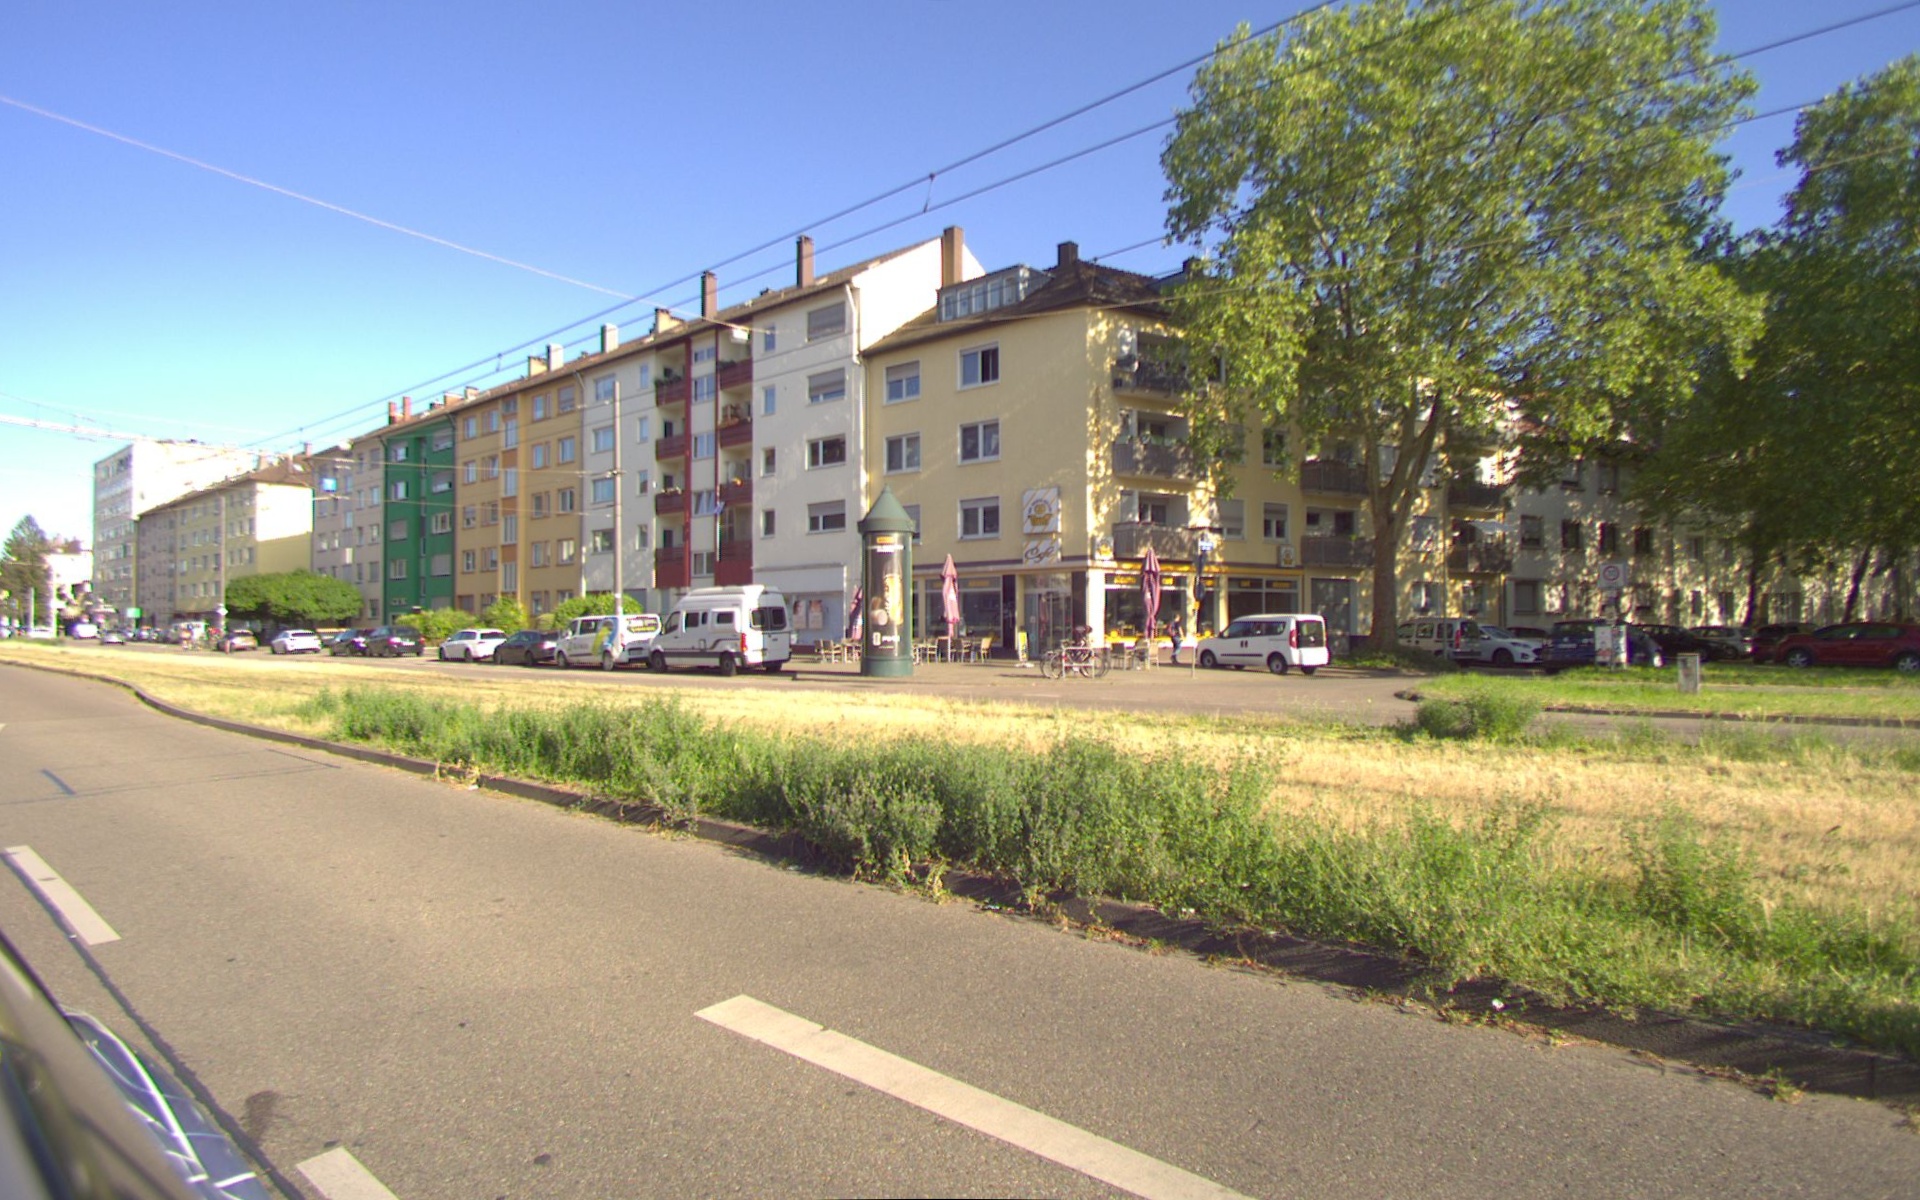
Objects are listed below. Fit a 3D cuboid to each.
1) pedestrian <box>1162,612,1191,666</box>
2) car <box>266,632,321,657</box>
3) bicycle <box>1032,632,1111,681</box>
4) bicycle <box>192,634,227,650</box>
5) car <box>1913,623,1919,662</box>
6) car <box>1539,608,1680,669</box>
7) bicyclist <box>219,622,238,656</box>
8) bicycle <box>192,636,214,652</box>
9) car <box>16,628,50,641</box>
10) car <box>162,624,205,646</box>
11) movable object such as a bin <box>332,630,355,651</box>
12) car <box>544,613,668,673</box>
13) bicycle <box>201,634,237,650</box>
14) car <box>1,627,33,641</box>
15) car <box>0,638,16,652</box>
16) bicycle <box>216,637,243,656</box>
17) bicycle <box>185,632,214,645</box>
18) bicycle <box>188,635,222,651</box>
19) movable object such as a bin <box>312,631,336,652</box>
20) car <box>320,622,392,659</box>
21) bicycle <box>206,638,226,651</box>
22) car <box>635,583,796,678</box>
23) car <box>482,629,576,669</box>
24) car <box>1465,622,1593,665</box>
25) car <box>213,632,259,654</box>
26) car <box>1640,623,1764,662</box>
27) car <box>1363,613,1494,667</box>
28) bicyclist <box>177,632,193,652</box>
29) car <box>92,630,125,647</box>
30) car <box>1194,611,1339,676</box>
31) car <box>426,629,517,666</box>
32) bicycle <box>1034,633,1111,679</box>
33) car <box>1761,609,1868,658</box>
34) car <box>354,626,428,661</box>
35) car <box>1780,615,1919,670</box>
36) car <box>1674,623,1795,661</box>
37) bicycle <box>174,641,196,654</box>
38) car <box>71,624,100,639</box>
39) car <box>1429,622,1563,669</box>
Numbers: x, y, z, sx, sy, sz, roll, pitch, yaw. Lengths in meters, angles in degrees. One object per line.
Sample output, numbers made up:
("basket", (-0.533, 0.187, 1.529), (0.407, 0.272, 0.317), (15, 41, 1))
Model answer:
("pedestrian", (7.408, 1.326, 34.658), (0.830, 1.798, 0.687), (-2, 0, 6))
("car", (-40.845, 2.712, 62.010), (4.373, 1.465, 1.711), (-2, -1, 41))
("bicycle", (2.977, 1.508, 27.063), (2.065, 1.261, 0.518), (-1, 0, 7))
("bicycle", (-56.625, 3.171, 76.353), (2.024, 1.101, 0.616), (-2, 0, -44))
("car", (36.175, 1.458, 35.276), (1.559, 1.392, 4.011), (1, -2, -33))
("car", (18.393, 1.057, 28.628), (3.932, 1.613, 1.755), (0, -2, -31))
("bicyclist", (-45.014, 2.406, 62.236), (0.648, 2.029, 0.765), (-2, 0, 41))
("bicycle", (-55.432, 3.214, 74.098), (1.928, 1.101, 0.506), (-2, 0, 29))
("car", (-100.863, 3.775, 110.116), (4.404, 1.395, 1.818), (-2, -3, 35))
("car", (-74.848, 3.337, 97.505), (5.492, 1.964, 1.975), (-2, 0, 38))
("movable object such as a bin", (-43.663, 2.857, 71.642), (1.039, 1.378, 1.134), (-1, 1, 43))
("car", (-13.401, 1.594, 38.131), (5.369, 2.036, 2.011), (-2, 0, 42))
("bicycle", (-55.398, 3.129, 75.684), (2.019, 1.101, 0.617), (-2, 0, -22))
("car", (-106.567, 3.815, 114.373), (4.405, 1.540, 1.767), (-2, -3, 36))
("car", (-116.937, 5.493, 123.511), (4.235, 1.562, 1.838), (-2, -4, 39))
("bicycle", (-44.773, 2.849, 62.034), (2.473, 1.155, 0.760), (-2, -4, 41))
("bicycle", (-71.405, 3.607, 95.062), (0.472, 1.114, 2.076), (-2, 0, 41))
("bicycle", (-58.354, 3.327, 78.180), (2.024, 1.101, 0.616), (-2, 0, -44))
("movable object such as a bin", (-44.439, 2.892, 70.692), (1.039, 1.378, 1.134), (-1, 1, 43))
("car", (-32.928, 2.209, 55.147), (4.606, 1.851, 1.973), (-2, 0, 41))
("bicycle", (-54.983, 3.283, 74.785), (2.046, 0.872, 0.374), (-2, 0, 30))
("car", (-8.220, 0.992, 33.603), (6.226, 2.890, 2.011), (-2, -1, 42))
("car", (-17.830, 2.010, 41.783), (4.320, 1.526, 1.678), (-2, -1, 38))
("car", (22.348, 1.693, 39.894), (1.850, 1.582, 4.012), (2, -2, -29))
("car", (-50.581, 2.983, 70.664), (3.729, 1.453, 1.620), (-2, 0, 39))
("car", (33.595, 1.894, 45.934), (1.966, 1.677, 4.074), (2, -2, -29))
("car", (17.334, 1.445, 37.576), (1.966, 1.857, 4.012), (2, -2, -29))
("bicyclist", (-53.614, 2.917, 70.019), (0.648, 1.394, 0.765), (-2, -3, 41))
("car", (-76.683, 3.468, 91.162), (4.215, 1.459, 1.676), (-2, -3, 42))
("car", (9.664, 1.325, 32.185), (1.967, 1.840, 4.010), (-2, 0, -35))
("car", (-21.985, 2.112, 45.471), (4.698, 1.503, 1.874), (-2, 0, 39))
("bicycle", (3.057, 1.519, 27.622), (2.065, 1.193, 0.518), (0, 0, 7))
("car", (31.208, 1.205, 36.936), (3.932, 1.697, 1.755), (0, -2, -31))
("car", (-29.135, 2.216, 51.775), (4.148, 1.620, 1.973), (-2, 0, 41))
("car", (25.813, 1.167, 28.671), (1.618, 1.391, 3.659), (-2, 0, -32))
("car", (36.432, 1.952, 47.719), (1.966, 1.677, 4.074), (2, -2, -29))
("bicycle", (-53.632, 3.276, 70.041), (2.068, 0.886, 0.760), (-2, -4, 41))
("car", (-114.652, 4.134, 132.641), (4.664, 1.912, 1.974), (-2, 0, 39))
("car", (20.227, 1.691, 38.363), (1.966, 1.677, 4.074), (2, -2, -29))
